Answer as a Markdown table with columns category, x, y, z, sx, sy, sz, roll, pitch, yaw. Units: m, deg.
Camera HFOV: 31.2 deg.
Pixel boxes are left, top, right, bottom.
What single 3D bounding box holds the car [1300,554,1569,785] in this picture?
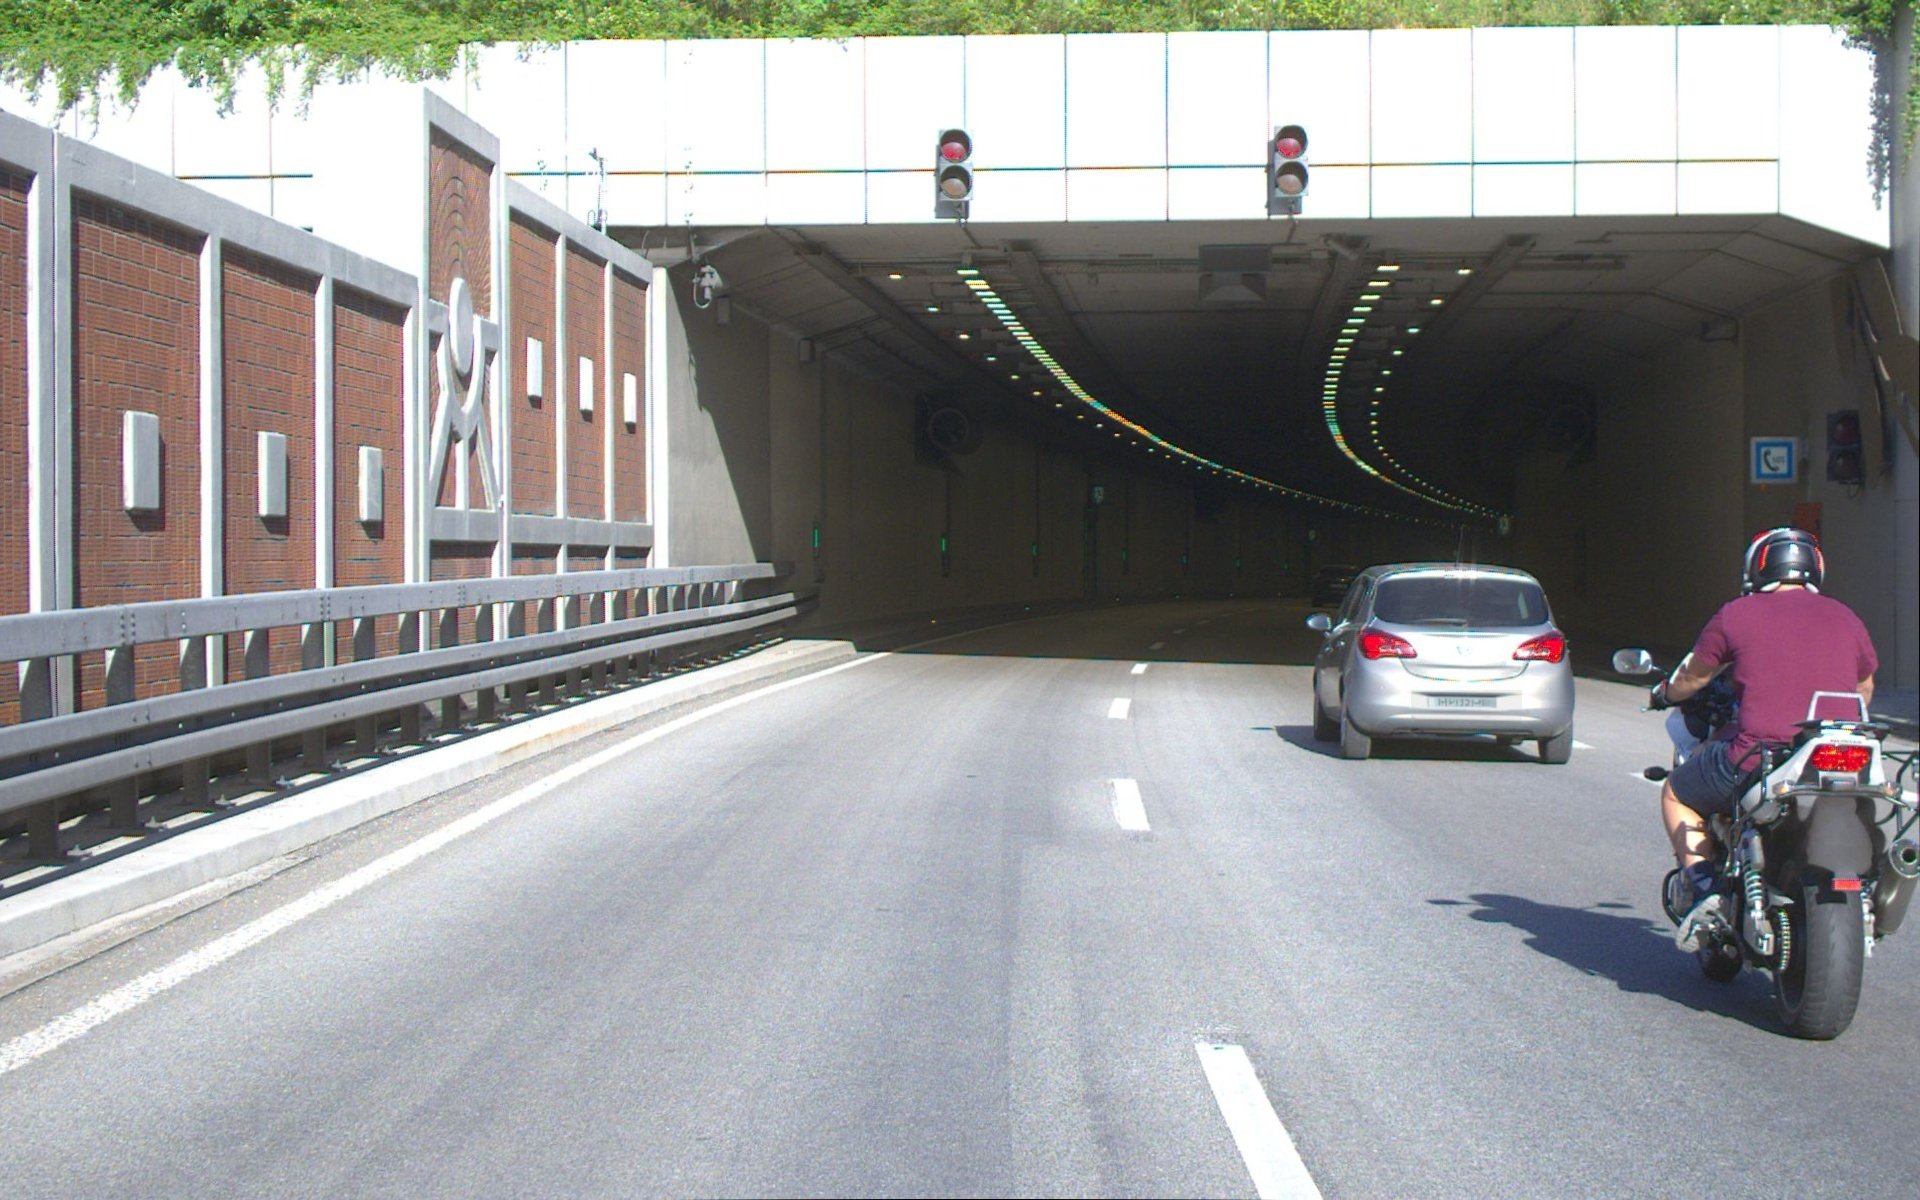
| category | x | y | z | sx | sy | sz | roll | pitch | yaw |
| --- | --- | --- | --- | --- | --- | --- | --- | --- | --- |
| car | 3.595 | 0.471 | 26.634 | 1.667 | 1.546 | 4.000 | 2 | 2 | 3 |

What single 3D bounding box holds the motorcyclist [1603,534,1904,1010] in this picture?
| category | x | y | z | sx | sy | sz | roll | pitch | yaw |
| --- | --- | --- | --- | --- | --- | --- | --- | --- | --- |
| motorcyclist | 2.659 | 0.542 | 11.636 | 0.883 | 1.496 | 1.062 | 3 | 1 | 11 |

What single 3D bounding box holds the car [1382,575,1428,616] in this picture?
| category | x | y | z | sx | sy | sz | roll | pitch | yaw |
| --- | --- | --- | --- | --- | --- | --- | --- | --- | --- |
| car | 22.016 | -0.249 | 169.950 | 1.994 | 1.919 | 3.998 | 1 | 1 | 11 |

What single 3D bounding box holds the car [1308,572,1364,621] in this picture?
| category | x | y | z | sx | sy | sz | roll | pitch | yaw |
| --- | --- | --- | --- | --- | --- | --- | --- | --- | --- |
| car | 12.949 | -0.127 | 118.363 | 1.668 | 1.546 | 3.999 | 3 | 2 | 9 |

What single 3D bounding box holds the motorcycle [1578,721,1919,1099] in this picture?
| category | x | y | z | sx | sy | sz | roll | pitch | yaw |
| --- | --- | --- | --- | --- | --- | --- | --- | --- | --- |
| motorcycle | 2.685 | 0.974 | 11.618 | 0.859 | 0.988 | 2.728 | 2 | 0 | 4 |
